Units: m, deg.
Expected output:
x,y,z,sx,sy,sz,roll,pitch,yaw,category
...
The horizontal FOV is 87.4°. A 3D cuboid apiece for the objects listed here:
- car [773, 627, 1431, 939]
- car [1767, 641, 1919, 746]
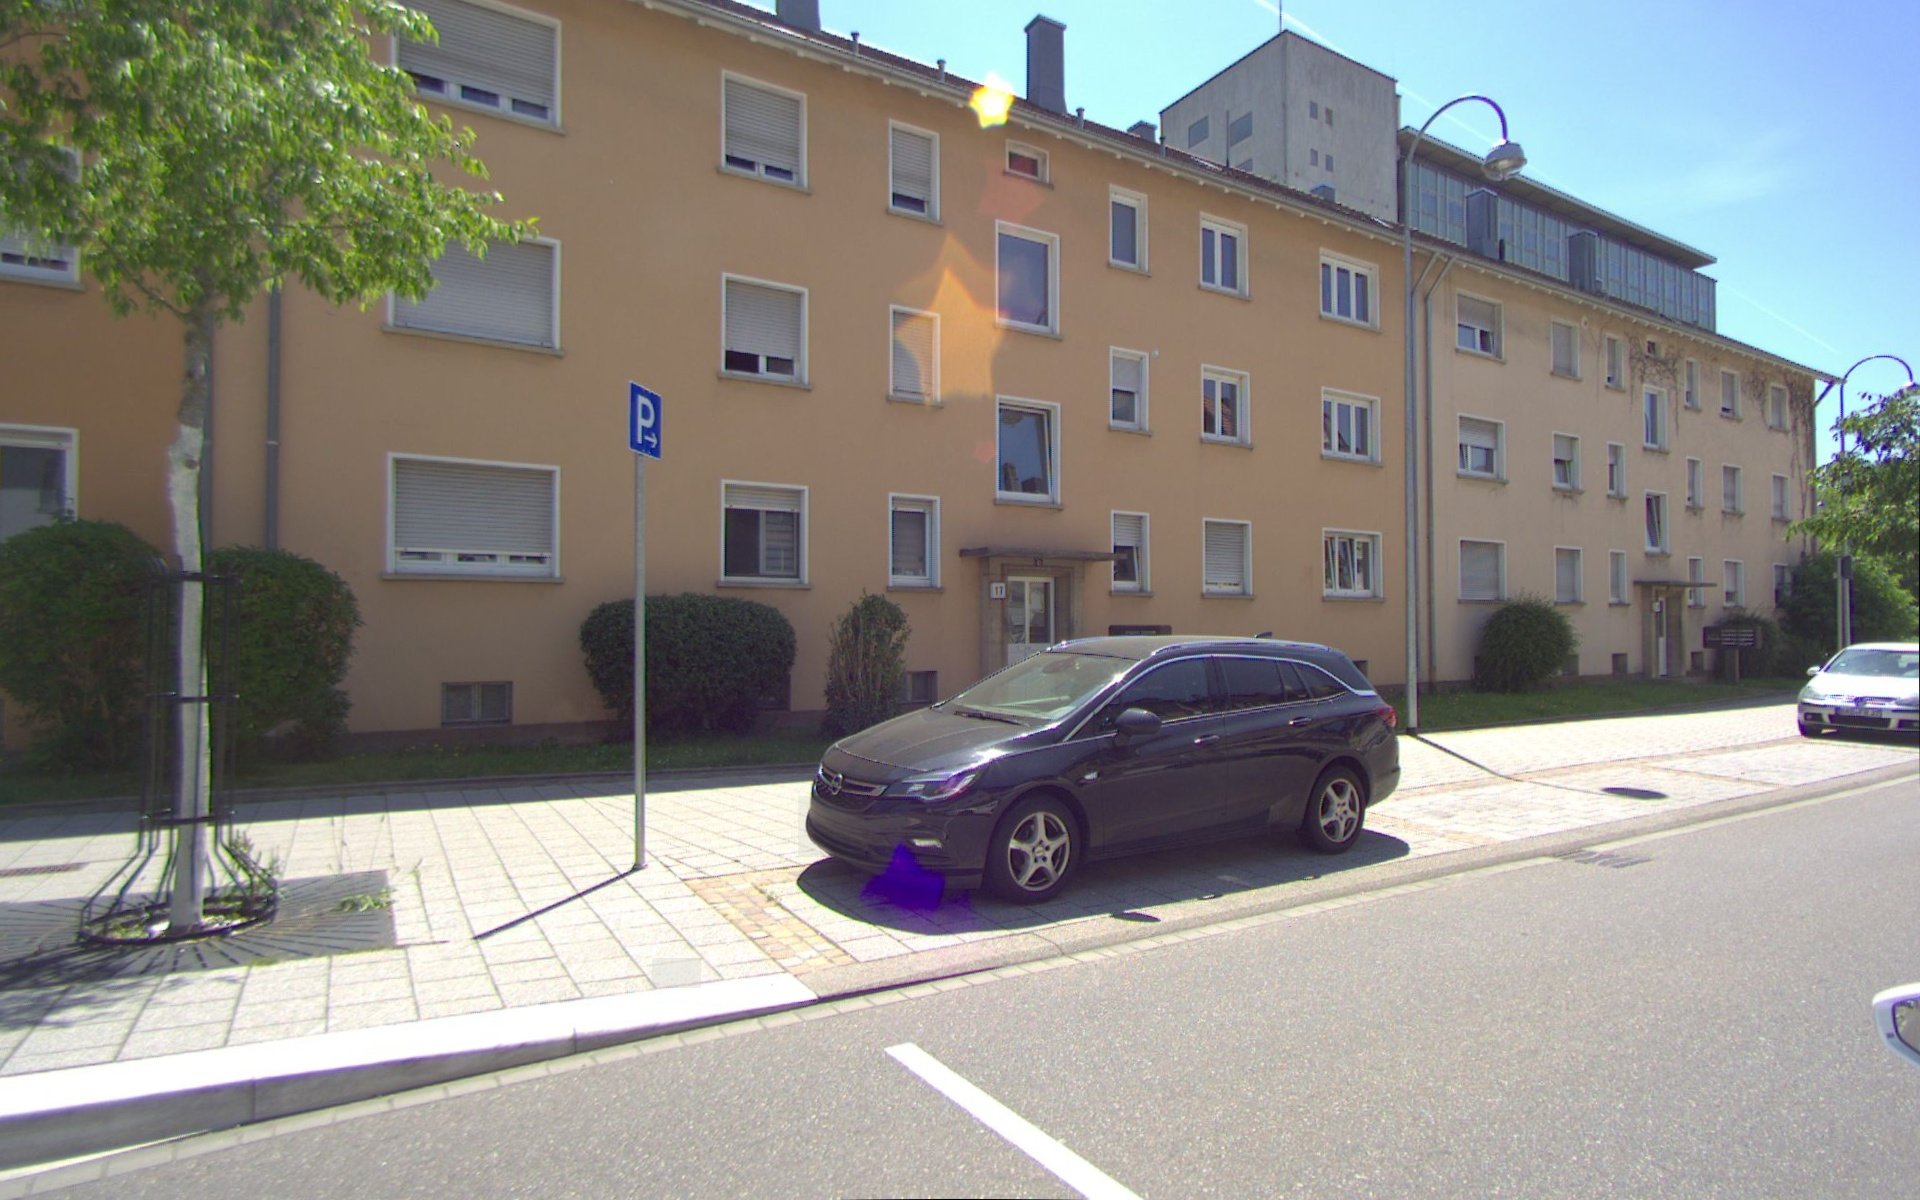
x,y,z,sx,sy,sz,roll,pitch,yaw,category
1.147,0.987,7.113,4.512,1.527,1.847,1,0,-33,car
14.729,1.397,15.971,4.049,1.439,1.980,2,-2,-36,car
